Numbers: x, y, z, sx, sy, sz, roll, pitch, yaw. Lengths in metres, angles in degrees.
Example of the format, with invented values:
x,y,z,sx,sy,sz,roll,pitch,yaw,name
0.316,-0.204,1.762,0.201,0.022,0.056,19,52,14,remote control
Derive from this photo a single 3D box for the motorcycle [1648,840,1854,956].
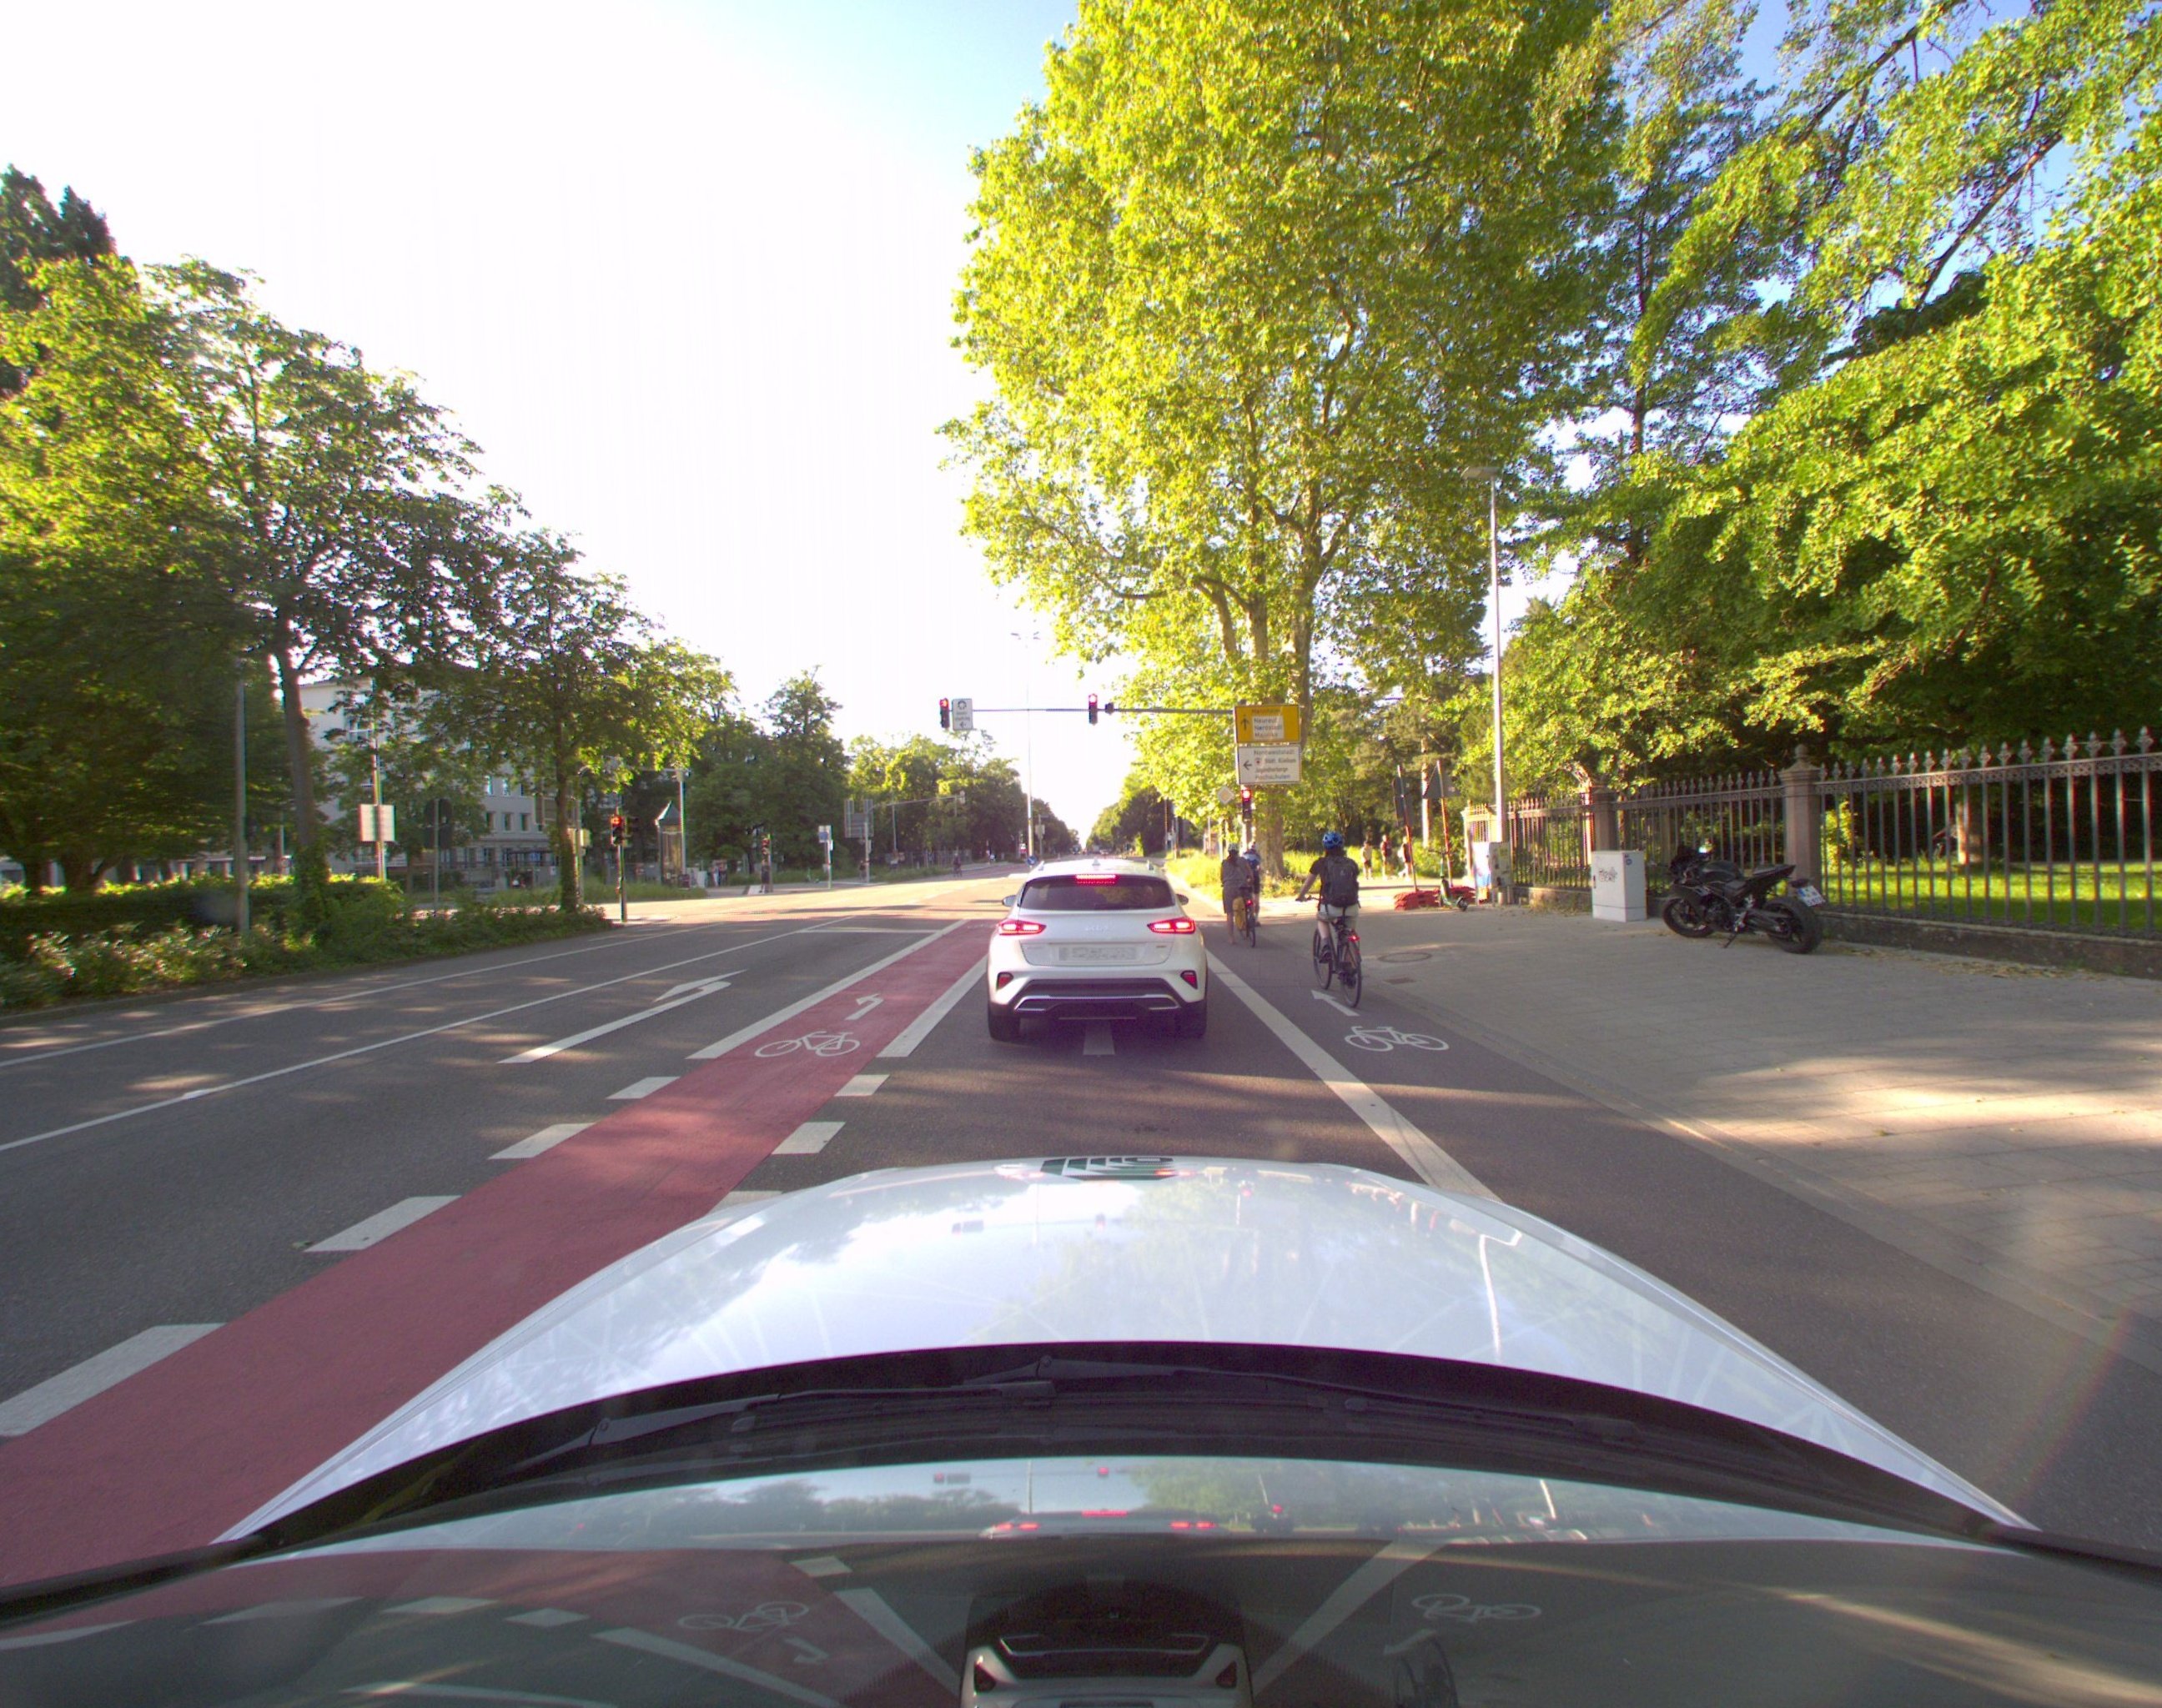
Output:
x,y,z,sx,sy,sz,roll,pitch,yaw,name
7.463,0.442,9.237,0.504,1.131,2.170,-4,0,0,motorcycle

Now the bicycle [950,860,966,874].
x,y,z,sx,sy,sz,roll,pitch,yaw,name
-9.248,0.987,61.280,0.660,0.989,2.507,-3,0,4,bicycle

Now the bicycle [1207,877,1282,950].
x,y,z,sx,sy,sz,roll,pitch,yaw,name
2.671,0.943,13.588,0.755,1.013,2.569,0,0,0,bicycle

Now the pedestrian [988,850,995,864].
x,y,z,sx,sy,sz,roll,pitch,yaw,name
-11.486,0.444,104.747,0.782,1.785,0.751,-1,-1,2,pedestrian

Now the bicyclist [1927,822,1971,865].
x,y,z,sx,sy,sz,roll,pitch,yaw,name
29.687,-0.357,27.856,0.780,1.431,0.665,-1,-1,-4,bicyclist

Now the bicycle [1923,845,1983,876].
x,y,z,sx,sy,sz,roll,pitch,yaw,name
29.852,0.214,27.882,1.613,1.015,0.474,-1,-1,-4,bicycle

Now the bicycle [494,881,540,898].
x,y,z,sx,sy,sz,roll,pitch,yaw,name
-37.568,2.340,54.262,2.695,0.989,0.581,-3,0,2,bicycle

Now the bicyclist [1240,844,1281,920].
x,y,z,sx,sy,sz,roll,pitch,yaw,name
3.664,0.567,16.655,0.552,1.478,0.717,-5,-1,0,bicyclist

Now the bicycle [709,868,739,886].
x,y,z,sx,sy,sz,roll,pitch,yaw,name
-23.979,1.563,54.717,1.859,1.148,0.290,-1,-1,-6,bicycle

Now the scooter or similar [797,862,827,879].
x,y,z,sx,sy,sz,roll,pitch,yaw,name
-18.792,1.166,56.917,0.703,1.124,1.933,-1,0,34,scooter or similar

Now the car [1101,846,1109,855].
x,y,z,sx,sy,sz,roll,pitch,yaw,name
6.012,-0.871,205.026,1.986,2.013,4.002,-3,0,2,car

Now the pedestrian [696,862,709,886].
x,y,z,sx,sy,sz,roll,pitch,yaw,name
-25.436,1.334,54.728,0.628,1.642,0.444,-1,-1,-8,pedestrian

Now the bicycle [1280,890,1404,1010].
x,y,z,sx,sy,sz,roll,pitch,yaw,name
2.690,0.946,8.642,0.666,1.009,2.081,-1,0,0,bicycle

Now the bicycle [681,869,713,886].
x,y,z,sx,sy,sz,roll,pitch,yaw,name
-25.949,1.581,55.017,1.859,1.148,0.442,-1,-1,-6,bicycle

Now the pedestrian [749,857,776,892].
x,y,z,sx,sy,sz,roll,pitch,yaw,name
-18.686,1.212,47.833,0.990,2.014,1.193,-1,-1,7,pedestrian

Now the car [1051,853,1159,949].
x,y,z,sx,sy,sz,roll,pitch,yaw,name
0.402,0.773,15.110,1.723,1.483,3.516,-3,0,0,car

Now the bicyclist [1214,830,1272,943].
x,y,z,sx,sy,sz,roll,pitch,yaw,name
2.668,0.521,13.527,0.750,1.795,1.165,0,0,0,bicyclist

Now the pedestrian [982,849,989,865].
x,y,z,sx,sy,sz,roll,pitch,yaw,name
-12.313,0.373,105.429,0.636,2.014,0.756,-1,-1,15,pedestrian

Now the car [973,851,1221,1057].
x,y,z,sx,sy,sz,roll,pitch,yaw,name
0.138,0.741,8.053,1.815,1.480,3.936,-1,0,0,car

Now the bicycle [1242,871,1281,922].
x,y,z,sx,sy,sz,roll,pitch,yaw,name
3.694,0.846,16.774,0.400,0.956,1.551,-5,0,0,bicycle

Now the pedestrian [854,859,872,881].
x,y,z,sx,sy,sz,roll,pitch,yaw,name
-16.545,1.213,61.914,1.086,1.603,0.999,-3,0,-5,pedestrian

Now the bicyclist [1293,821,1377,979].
x,y,z,sx,sy,sz,roll,pitch,yaw,name
2.686,0.465,8.675,0.663,1.602,0.721,-1,0,0,bicyclist

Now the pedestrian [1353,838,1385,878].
x,y,z,sx,sy,sz,roll,pitch,yaw,name
11.169,0.171,31.628,0.818,1.518,0.913,-1,-1,-10,pedestrian

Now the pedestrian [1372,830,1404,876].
x,y,z,sx,sy,sz,roll,pitch,yaw,name
12.039,-0.046,31.947,0.816,1.771,0.831,-3,0,-5,pedestrian

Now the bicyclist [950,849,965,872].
x,y,z,sx,sy,sz,roll,pitch,yaw,name
-9.278,0.486,61.225,0.871,1.608,1.189,-3,0,4,bicyclist

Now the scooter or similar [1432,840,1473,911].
x,y,z,sx,sy,sz,roll,pitch,yaw,name
7.267,0.396,15.964,0.227,1.327,1.172,-3,0,0,scooter or similar

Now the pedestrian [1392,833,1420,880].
x,y,z,sx,sy,sz,roll,pitch,yaw,name
12.121,0.089,30.343,0.688,1.699,0.643,-3,0,-5,pedestrian

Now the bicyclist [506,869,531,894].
x,y,z,sx,sy,sz,roll,pitch,yaw,name
-37.489,1.839,54.259,0.971,1.606,0.878,-3,0,2,bicyclist
